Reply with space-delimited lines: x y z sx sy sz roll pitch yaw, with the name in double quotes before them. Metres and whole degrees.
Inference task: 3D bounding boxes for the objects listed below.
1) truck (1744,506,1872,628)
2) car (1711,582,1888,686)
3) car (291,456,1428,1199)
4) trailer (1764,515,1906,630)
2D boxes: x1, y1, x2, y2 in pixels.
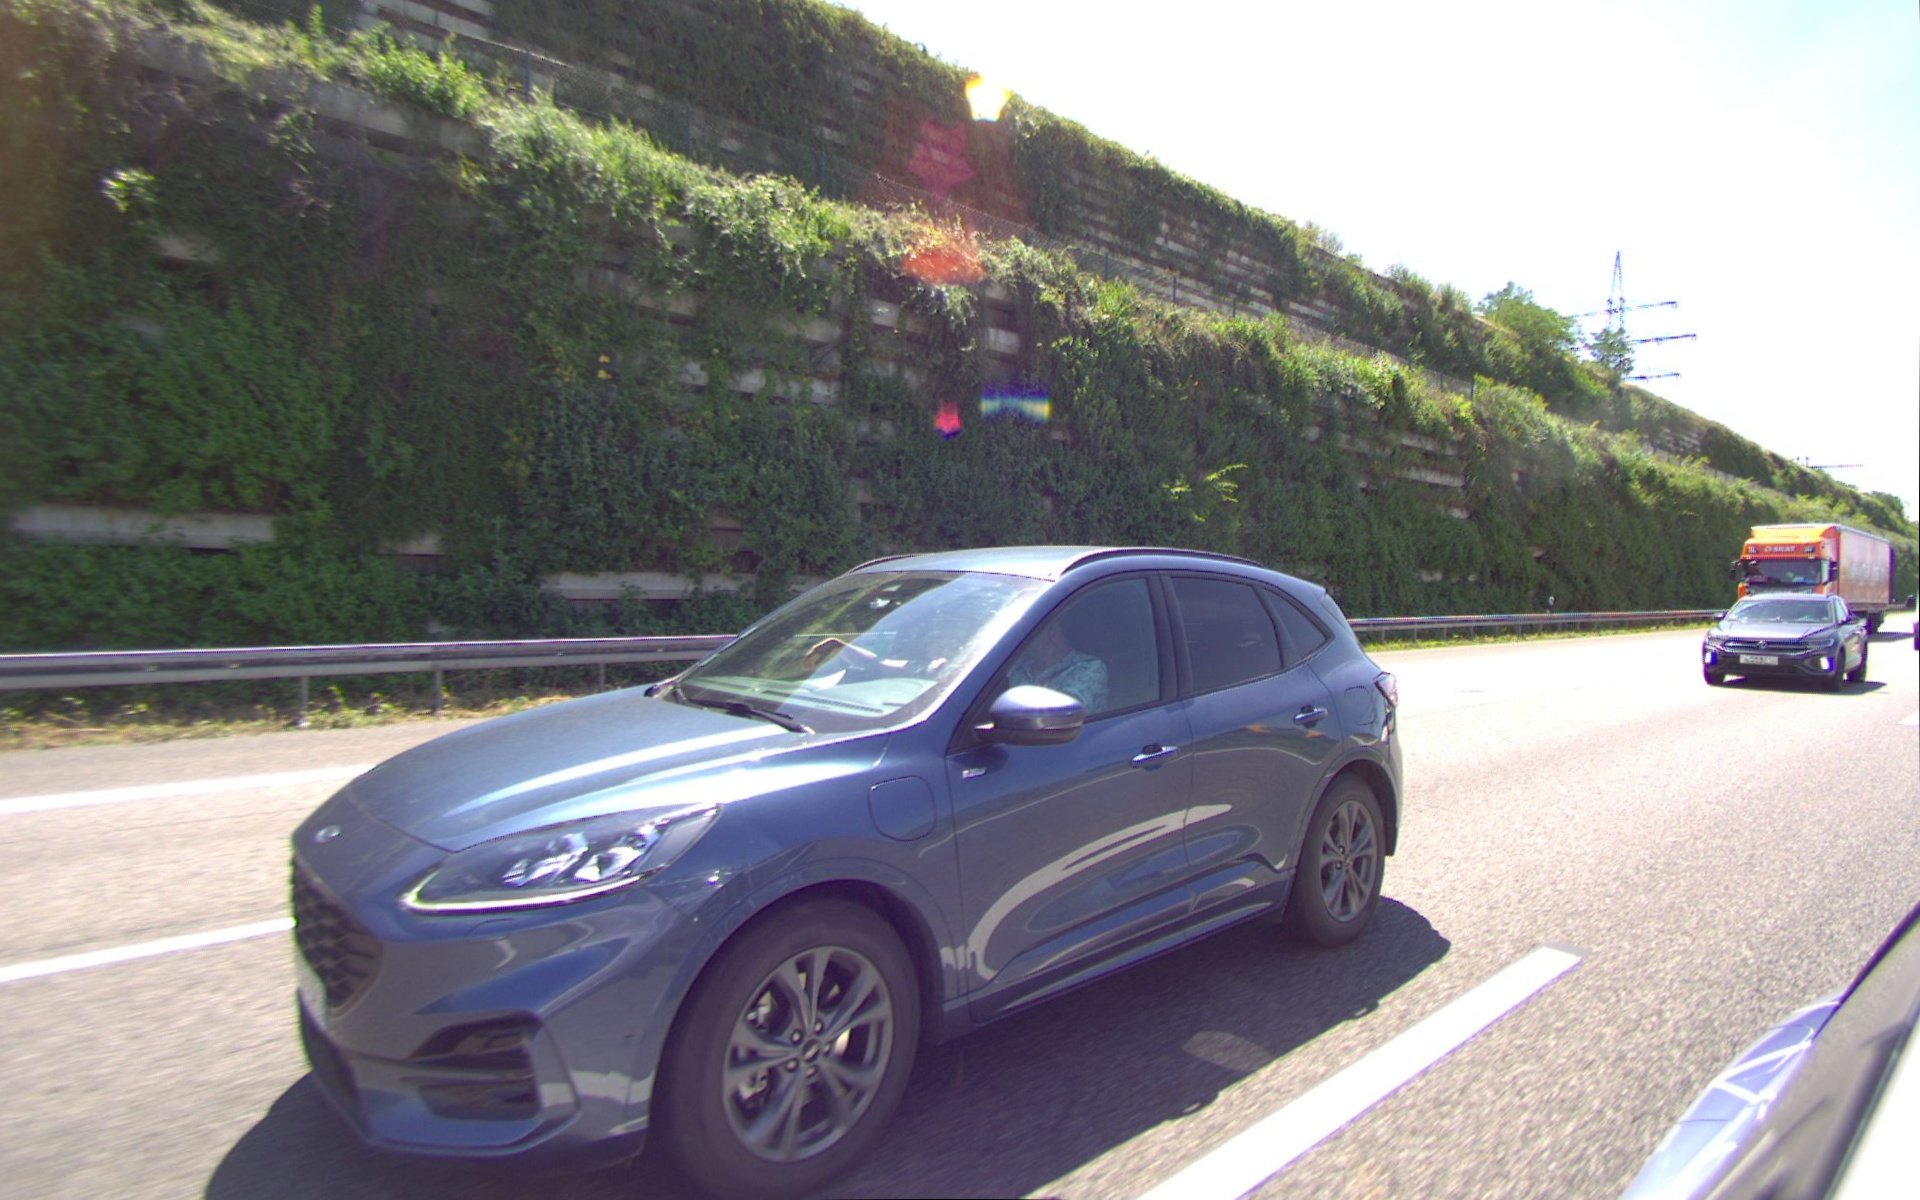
"truck" 30.851 -1.131 36.742 6.413 4.042 2.622 0 1 -42
"car" 14.400 0.487 17.290 3.926 1.544 1.752 0 2 -42
"car" -0.020 0.543 3.883 4.066 1.674 1.797 0 1 -41
"trailer" 35.823 -1.013 41.148 13.370 4.055 2.649 0 1 -42
